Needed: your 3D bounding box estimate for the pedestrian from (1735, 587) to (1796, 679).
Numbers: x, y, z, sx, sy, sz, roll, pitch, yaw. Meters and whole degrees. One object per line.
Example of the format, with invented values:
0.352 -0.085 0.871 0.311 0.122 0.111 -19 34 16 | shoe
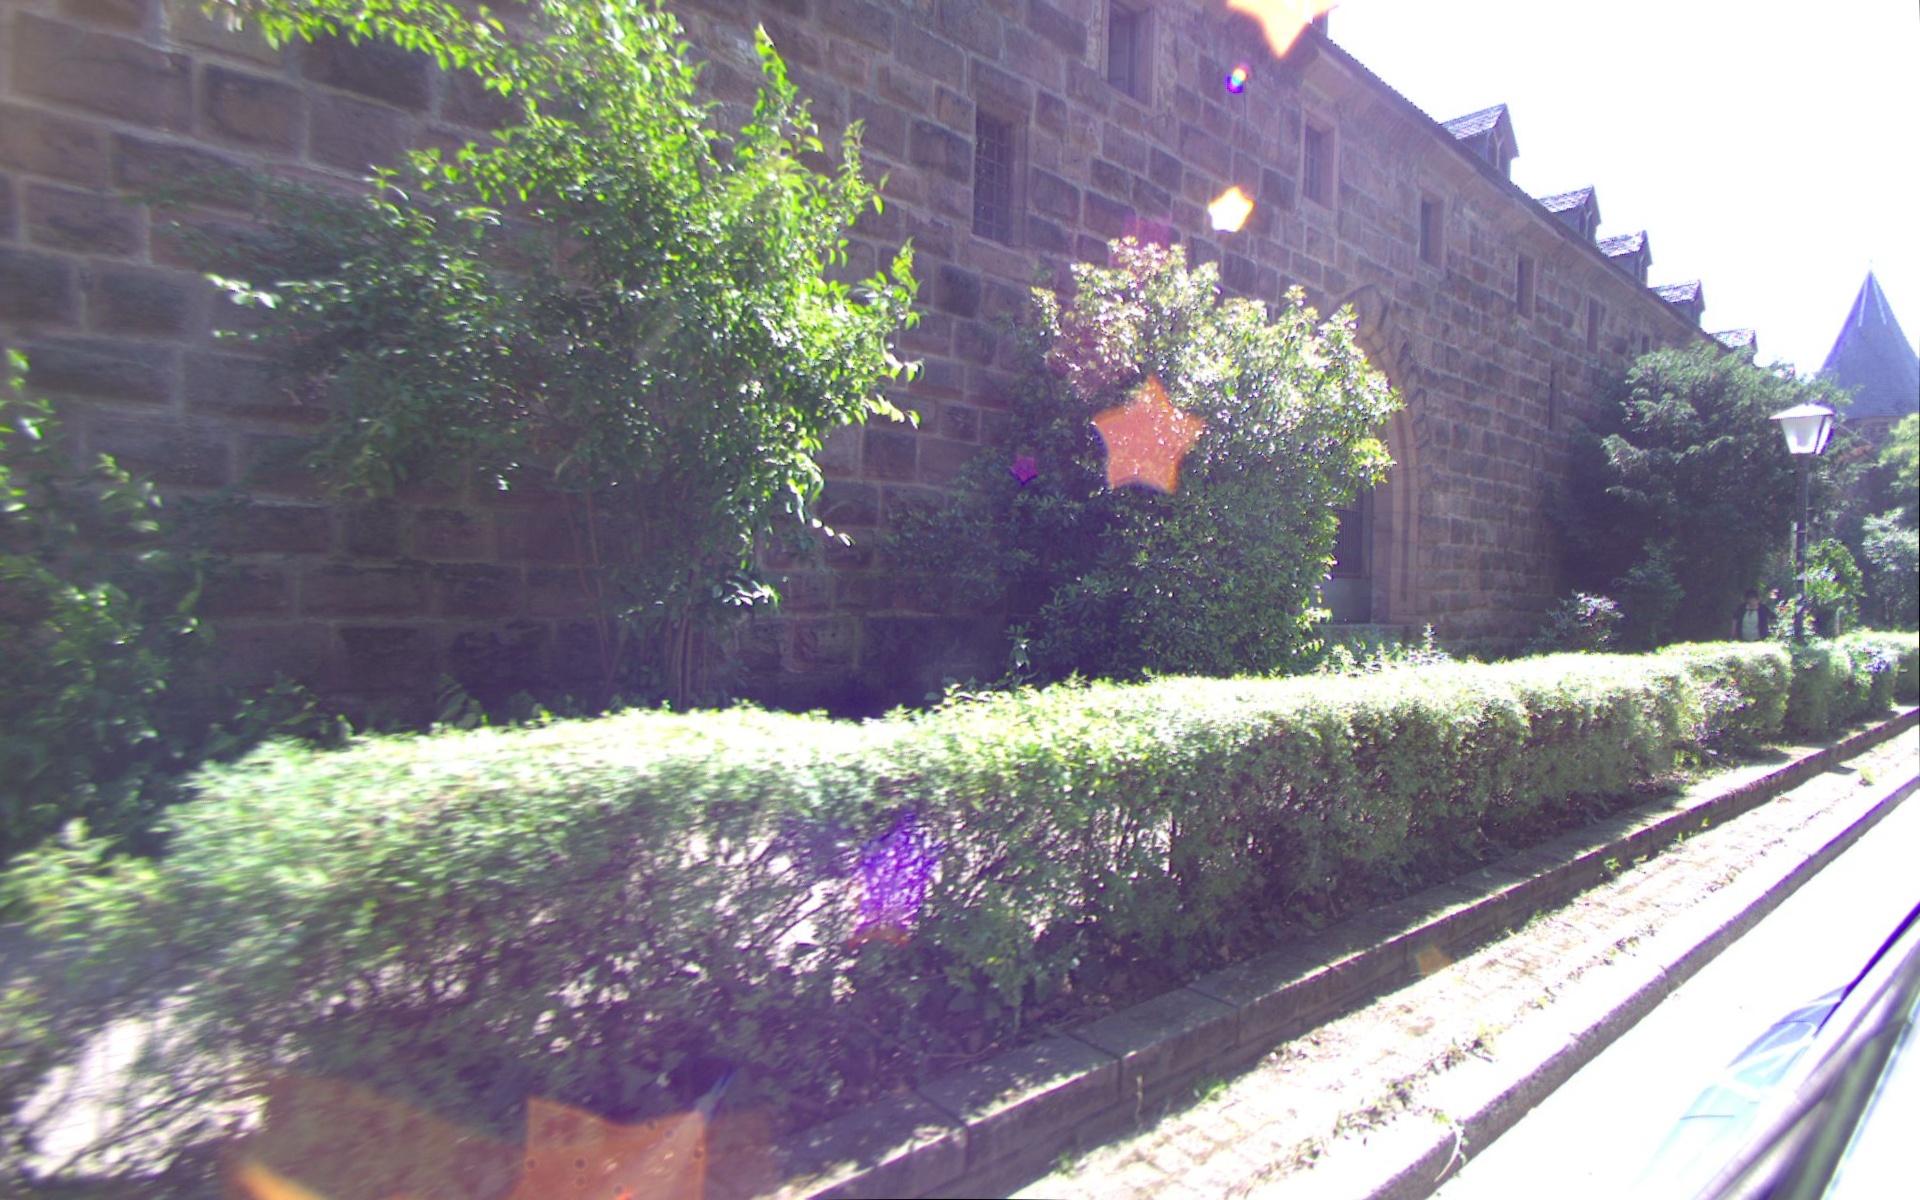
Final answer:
15.171 0.606 19.055 0.692 1.673 0.700 1 1 -38 | pedestrian
